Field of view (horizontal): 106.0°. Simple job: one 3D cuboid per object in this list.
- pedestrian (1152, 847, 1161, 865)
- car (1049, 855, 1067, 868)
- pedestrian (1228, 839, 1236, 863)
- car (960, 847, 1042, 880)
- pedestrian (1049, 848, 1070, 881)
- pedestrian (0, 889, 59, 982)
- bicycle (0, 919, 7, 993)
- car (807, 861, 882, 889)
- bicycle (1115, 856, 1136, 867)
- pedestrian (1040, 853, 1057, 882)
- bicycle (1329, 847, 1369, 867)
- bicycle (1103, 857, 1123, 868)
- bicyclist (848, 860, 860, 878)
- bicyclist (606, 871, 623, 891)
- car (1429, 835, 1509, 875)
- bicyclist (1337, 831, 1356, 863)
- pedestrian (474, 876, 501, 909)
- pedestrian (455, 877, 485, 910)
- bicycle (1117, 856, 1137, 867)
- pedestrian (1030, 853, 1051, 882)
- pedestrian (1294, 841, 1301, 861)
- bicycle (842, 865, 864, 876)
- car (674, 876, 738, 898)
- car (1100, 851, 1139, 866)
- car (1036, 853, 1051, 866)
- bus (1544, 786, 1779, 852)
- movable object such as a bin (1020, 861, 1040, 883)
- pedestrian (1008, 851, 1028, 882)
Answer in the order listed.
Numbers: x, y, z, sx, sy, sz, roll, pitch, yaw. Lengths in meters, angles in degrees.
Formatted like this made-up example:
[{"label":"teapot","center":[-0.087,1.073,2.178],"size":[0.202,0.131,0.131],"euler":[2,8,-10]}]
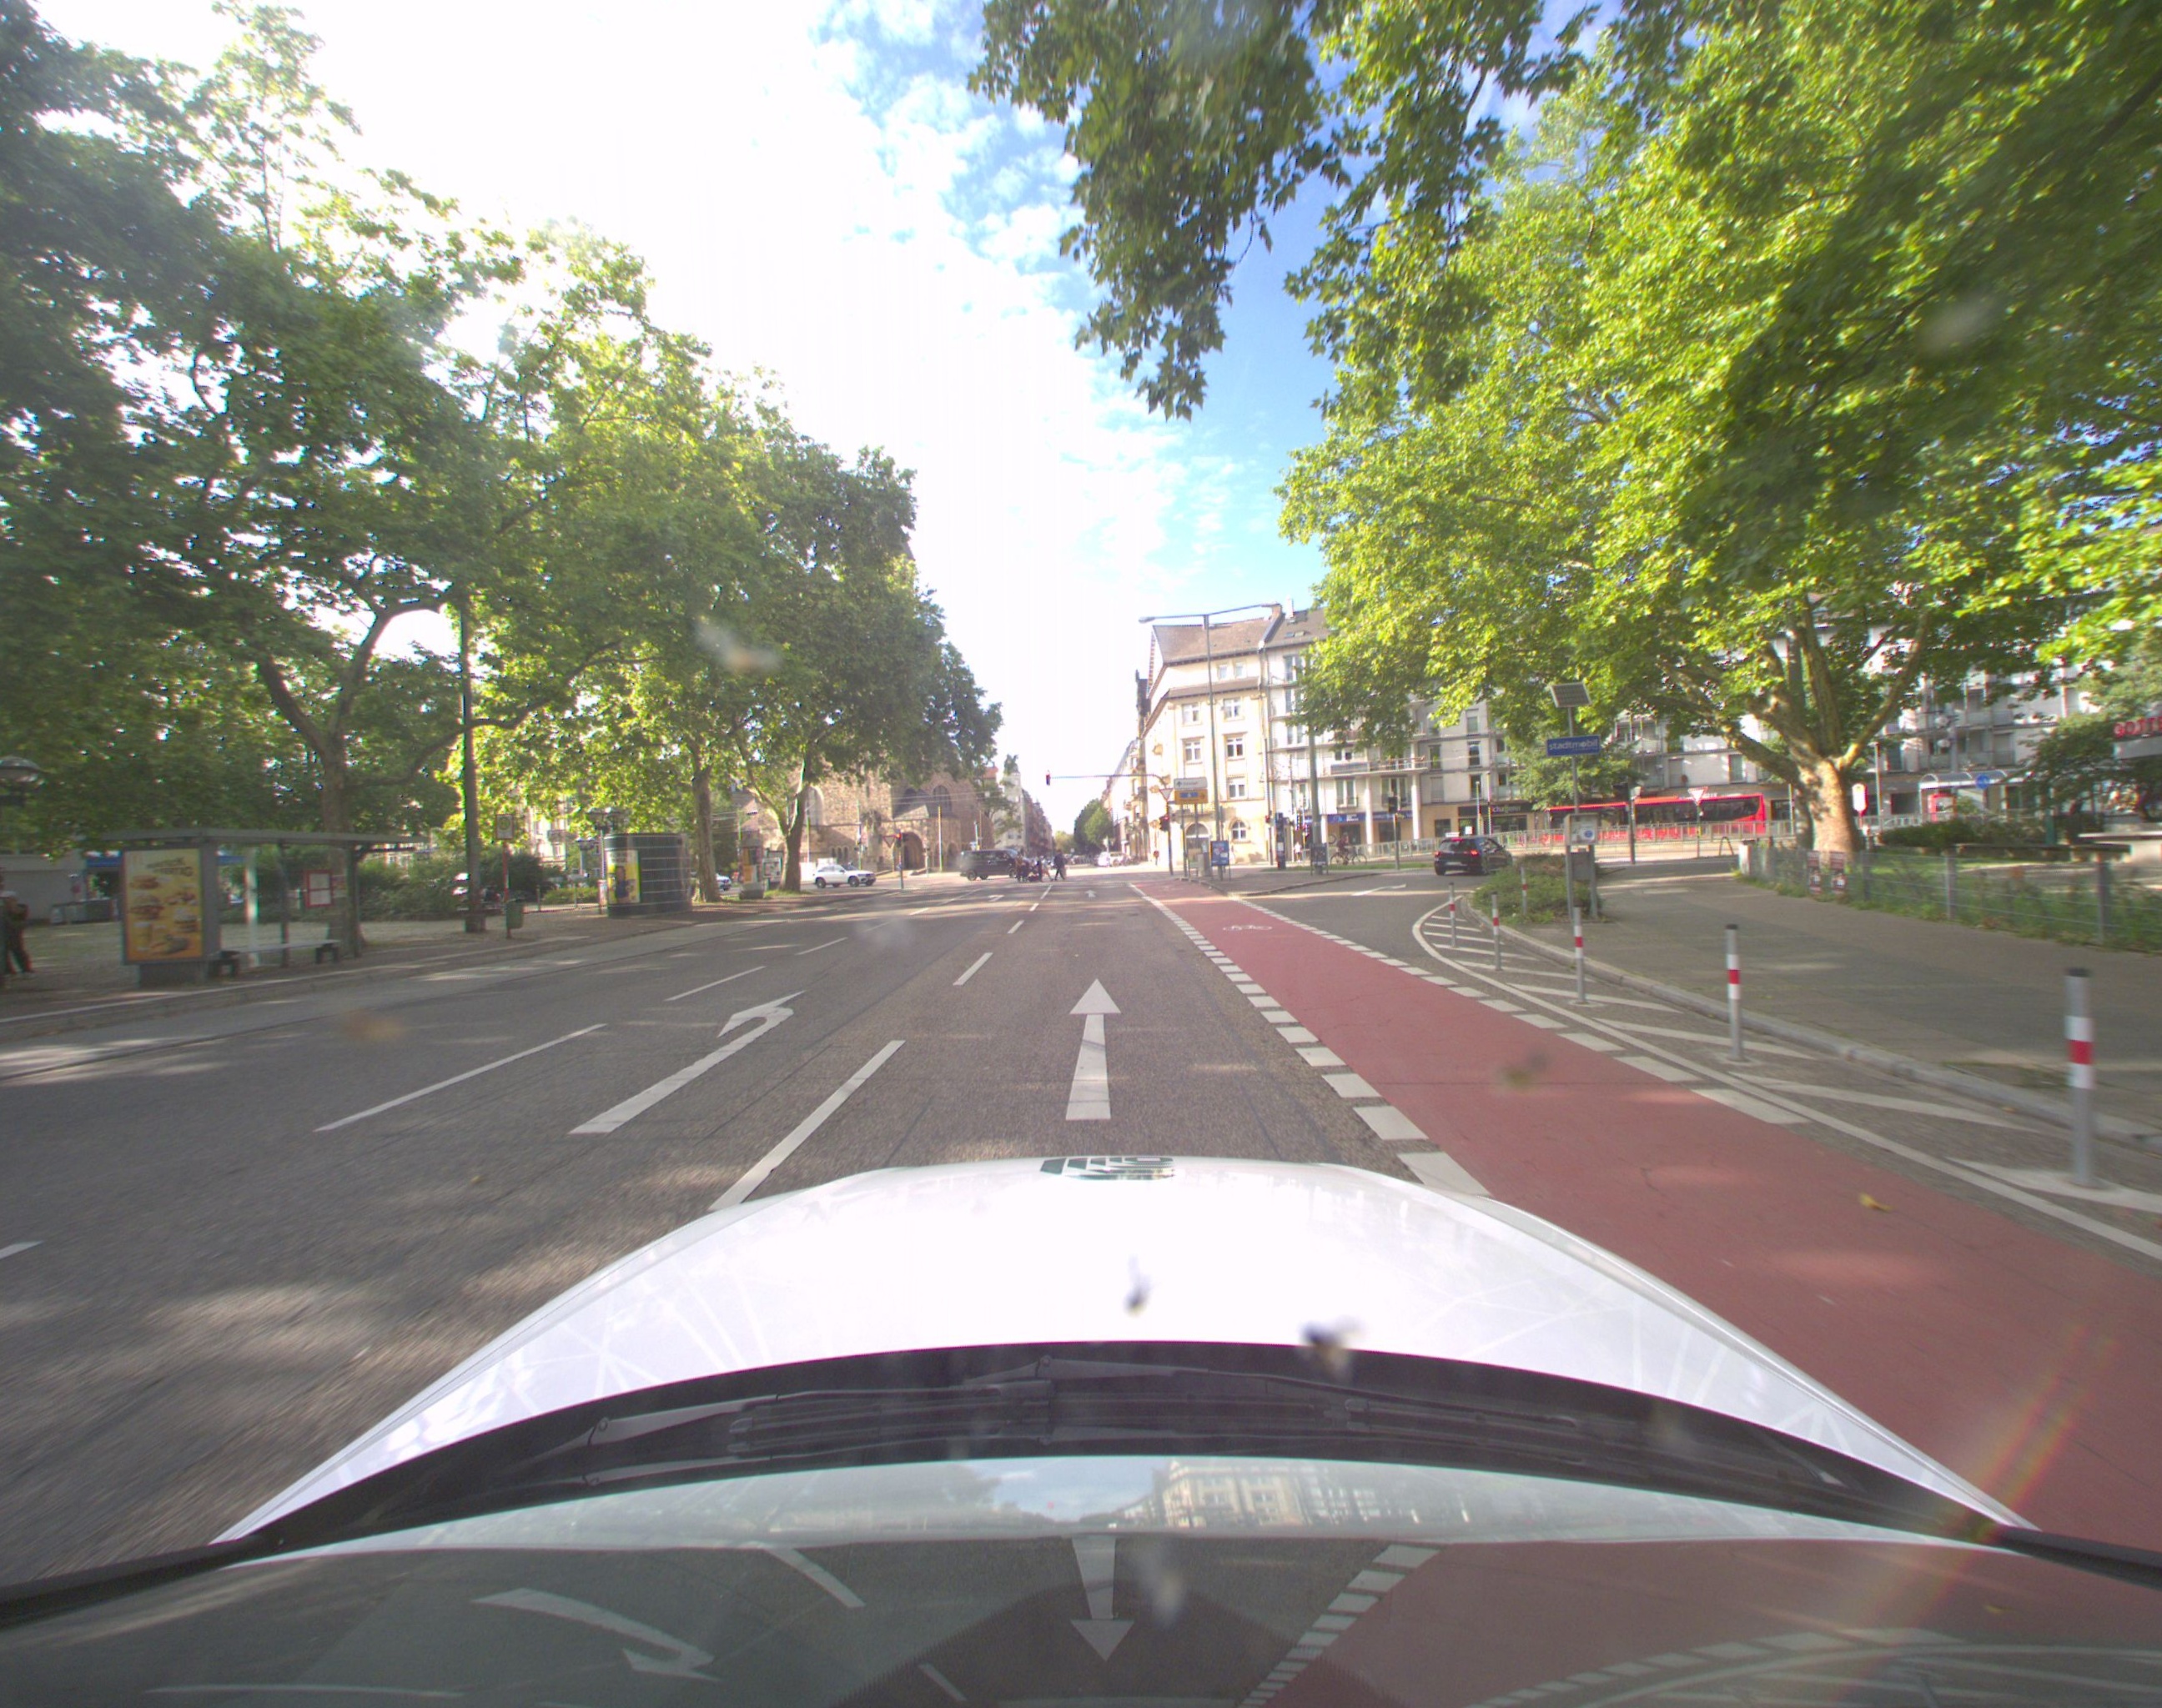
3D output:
[{"label":"pedestrian","center":[7.066,0.175,76.028],"size":[0.557,1.623,0.603],"euler":[-3,0,21]},{"label":"car","center":[-2.650,0.826,96.185],"size":[1.943,1.372,3.999],"euler":[-3,0,0]},{"label":"pedestrian","center":[13.353,-0.254,71.921],"size":[0.520,2.093,0.500],"euler":[0,0,26]},{"label":"car","center":[-5.182,0.604,52.886],"size":[4.803,1.871,2.041],"euler":[-3,0,19]},{"label":"pedestrian","center":[-1.111,0.542,43.003],"size":[0.774,1.662,0.783],"euler":[-3,0,23]},{"label":"pedestrian","center":[-20.537,1.573,15.782],"size":[0.498,1.715,0.706],"euler":[-3,0,1]},{"label":"bicycle","center":[-18.693,1.680,12.674],"size":[1.377,1.209,2.114],"euler":[-3,-2,23]},{"label":"car","center":[-16.635,1.458,57.331],"size":[4.667,1.683,2.027],"euler":[-3,0,19]},{"label":"bicycle","center":[4.709,0.764,86.431],"size":[2.023,1.082,0.628],"euler":[-3,0,-10]},{"label":"pedestrian","center":[-1.674,0.697,42.295],"size":[0.649,1.432,0.501],"euler":[-3,0,22]},{"label":"bicycle","center":[13.685,0.159,41.615],"size":[1.813,0.955,0.576],"euler":[-3,0,26]},{"label":"bicycle","center":[3.384,0.907,85.679],"size":[2.023,1.082,0.618],"euler":[-3,0,-10]},{"label":"bicyclist","center":[-21.615,1.415,77.624],"size":[0.716,1.662,0.724],"euler":[-3,0,41]},{"label":"bicyclist","center":[-35.899,2.069,62.669],"size":[0.874,1.503,0.719],"euler":[-3,0,18]},{"label":"car","center":[14.867,0.013,31.127],"size":[1.735,1.413,4.025],"euler":[-2,0,40]},{"label":"bicyclist","center":[13.576,-0.365,41.663],"size":[0.771,1.579,0.629],"euler":[-3,0,25]},{"label":"pedestrian","center":[-23.707,1.532,32.532],"size":[0.725,1.288,0.811],"euler":[0,0,-25]},{"label":"pedestrian","center":[-24.615,1.584,32.798],"size":[0.808,1.288,0.728],"euler":[0,0,32]},{"label":"bicycle","center":[4.818,0.758,85.760],"size":[2.023,1.082,0.618],"euler":[-3,0,-10]},{"label":"pedestrian","center":[-2.089,0.708,41.785],"size":[0.774,1.432,0.735],"euler":[-3,0,23]},{"label":"pedestrian","center":[18.402,-0.228,69.199],"size":[0.491,1.714,0.530],"euler":[0,0,24]},{"label":"bicycle","center":[-21.699,1.587,77.590],"size":[0.630,0.980,1.937],"euler":[-3,0,41]},{"label":"car","center":[-28.655,2.528,62.283],"size":[4.212,1.479,1.908],"euler":[-3,0,19]},{"label":"car","center":[4.196,0.523,88.104],"size":[3.979,1.420,1.997],"euler":[-3,0,-4]},{"label":"car","center":[-5.364,0.739,116.212],"size":[1.943,1.750,3.999],"euler":[-3,0,0]},{"label":"bus","center":[37.663,-2.195,53.622],"size":[12.153,3.548,3.046],"euler":[-3,0,23]},{"label":"movable object such as a bin","center":[-2.667,0.930,42.921],"size":[0.830,1.123,0.578],"euler":[-3,0,23]},{"label":"pedestrian","center":[-3.323,0.666,43.152],"size":[0.807,1.629,0.608],"euler":[-3,0,24]}]
